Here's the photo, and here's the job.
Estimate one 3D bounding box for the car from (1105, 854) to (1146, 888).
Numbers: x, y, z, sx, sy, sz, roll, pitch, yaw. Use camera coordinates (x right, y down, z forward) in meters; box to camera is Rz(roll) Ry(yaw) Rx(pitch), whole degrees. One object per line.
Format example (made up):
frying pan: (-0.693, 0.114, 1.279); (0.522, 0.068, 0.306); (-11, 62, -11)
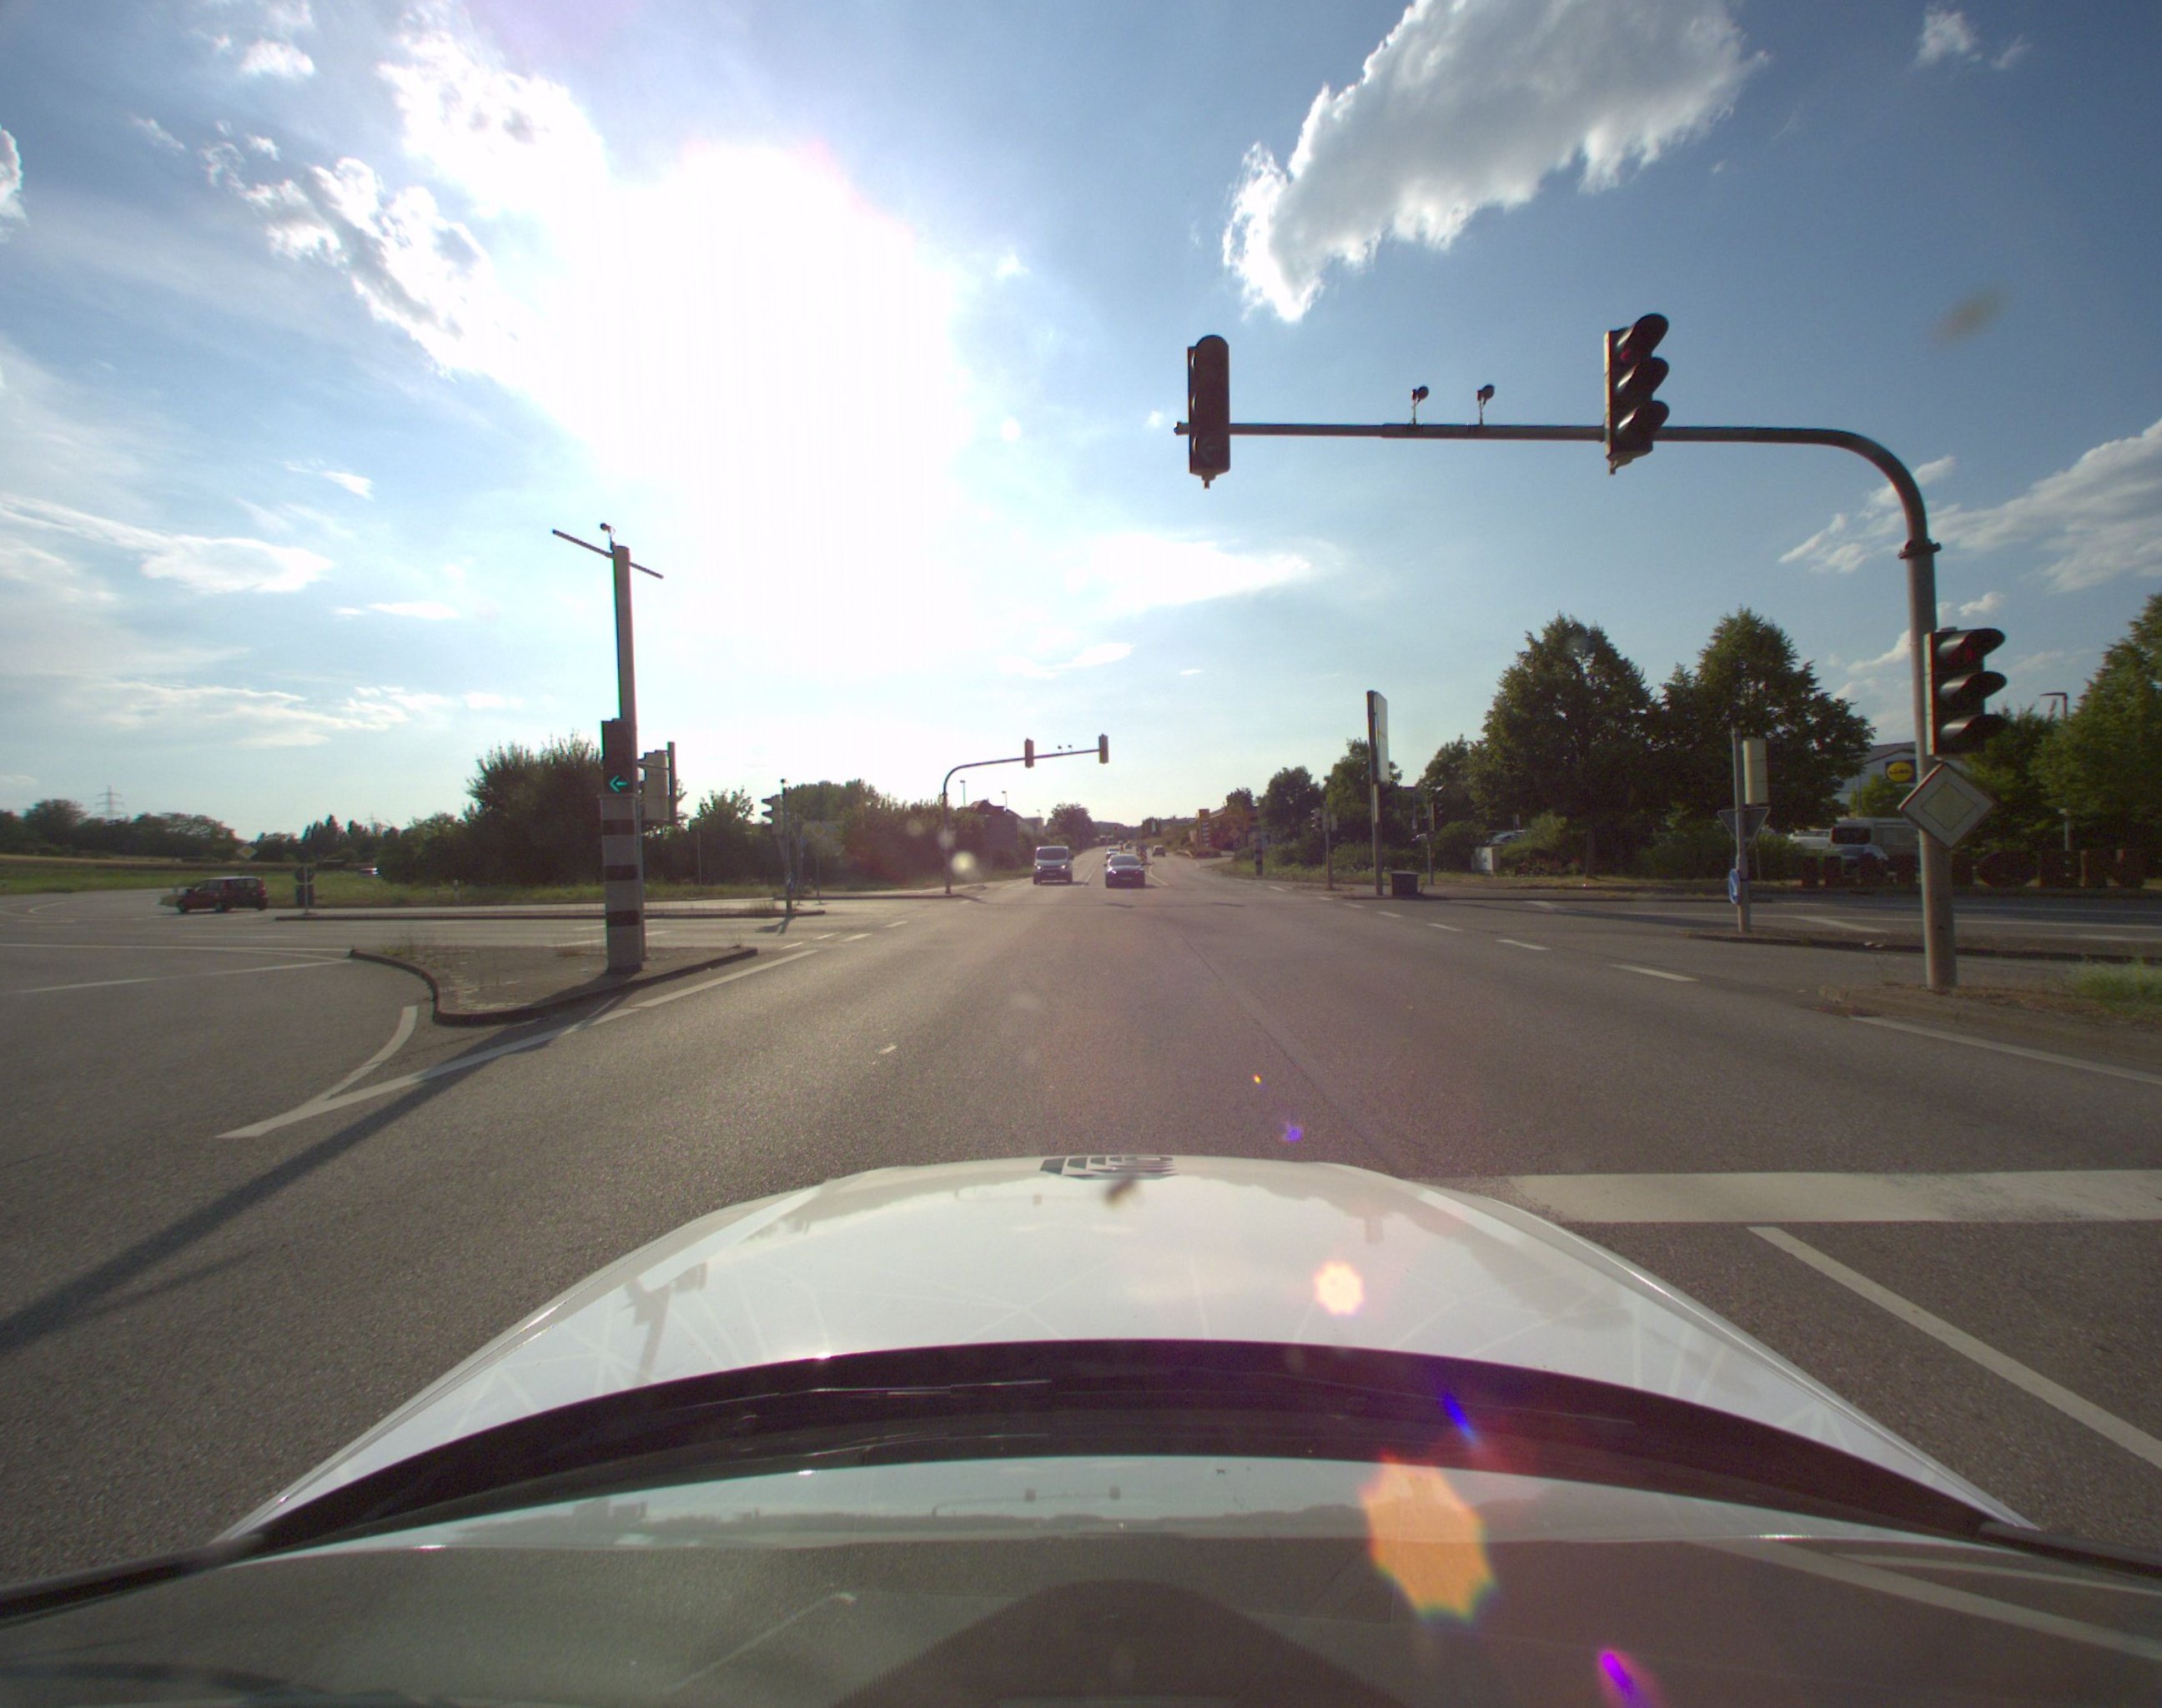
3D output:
car: (2.143, 0.778, 38.211); (1.780, 1.497, 4.307); (0, -1, 5)

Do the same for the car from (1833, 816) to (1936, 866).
car: (41.600, -0.632, 42.170); (5.144, 2.506, 1.985); (0, -1, -23)

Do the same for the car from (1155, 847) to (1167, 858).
car: (11.273, -0.238, 114.941); (1.543, 1.449, 3.053); (0, -1, 4)

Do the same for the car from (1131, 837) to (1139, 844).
car: (16.668, -4.072, 252.499); (1.988, 2.014, 3.996); (0, -1, -2)

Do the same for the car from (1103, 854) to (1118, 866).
car: (3.752, 0.787, 102.751); (1.850, 1.513, 4.955); (0, -1, 2)

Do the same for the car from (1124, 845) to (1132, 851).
car: (11.684, -1.506, 203.690); (1.736, 1.352, 3.201); (0, -1, -2)

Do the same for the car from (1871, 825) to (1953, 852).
car: (50.508, -0.912, 49.549); (1.571, 1.550, 3.221); (0, -1, -32)

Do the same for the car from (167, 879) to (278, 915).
car: (-37.786, 1.879, 35.857); (3.815, 1.500, 1.735); (-1, -1, 15)

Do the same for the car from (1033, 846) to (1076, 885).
car: (-1.338, 0.550, 43.472); (1.892, 1.947, 4.822); (0, 1, 3)

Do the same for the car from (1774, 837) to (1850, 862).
car: (44.831, -0.248, 50.003); (1.577, 1.509, 3.112); (0, -1, -14)
